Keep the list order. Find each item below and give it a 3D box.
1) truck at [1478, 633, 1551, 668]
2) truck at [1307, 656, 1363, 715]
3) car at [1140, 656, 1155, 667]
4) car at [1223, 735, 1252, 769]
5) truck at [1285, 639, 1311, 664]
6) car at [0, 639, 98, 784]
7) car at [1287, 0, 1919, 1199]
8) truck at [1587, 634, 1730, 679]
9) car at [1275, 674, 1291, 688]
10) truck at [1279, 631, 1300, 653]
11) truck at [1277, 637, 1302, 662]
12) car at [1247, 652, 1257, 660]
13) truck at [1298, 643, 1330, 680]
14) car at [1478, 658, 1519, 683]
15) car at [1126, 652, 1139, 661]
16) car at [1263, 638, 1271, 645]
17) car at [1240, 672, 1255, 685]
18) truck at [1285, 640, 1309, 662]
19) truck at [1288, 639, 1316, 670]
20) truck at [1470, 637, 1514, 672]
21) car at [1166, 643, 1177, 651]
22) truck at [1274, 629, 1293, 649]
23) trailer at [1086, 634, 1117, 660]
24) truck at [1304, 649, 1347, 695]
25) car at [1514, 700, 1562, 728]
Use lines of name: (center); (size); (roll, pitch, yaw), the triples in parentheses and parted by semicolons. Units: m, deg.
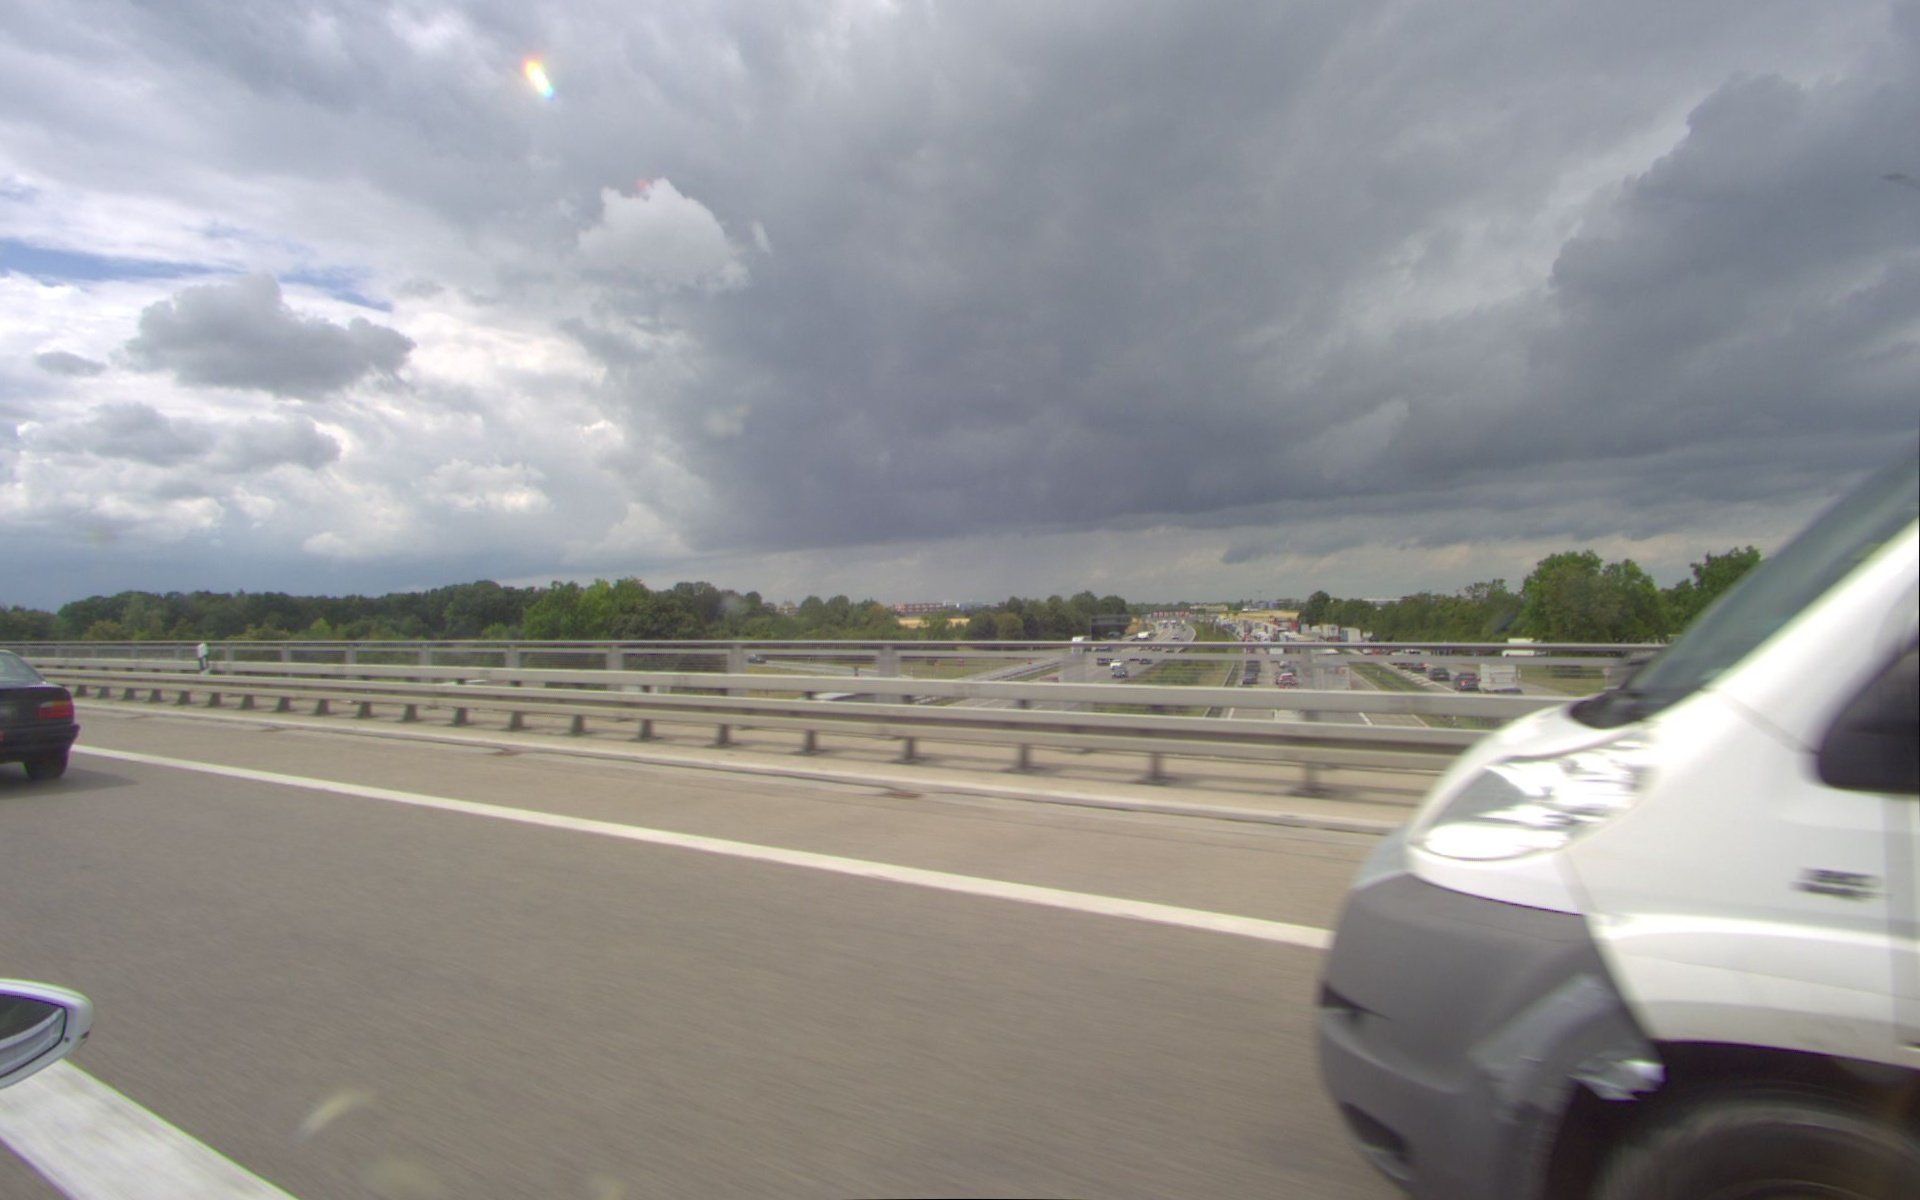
truck: (84.088, 7.587, 152.276); (3.875, 5.105, 13.006); (0, -2, 0)
truck: (34.060, 7.605, 91.519); (3.936, 4.612, 13.776); (0, -2, 17)
car: (32.660, 10.687, 174.074); (1.965, 1.638, 3.994); (-1, -1, 19)
car: (17.357, 9.444, 62.536); (1.643, 1.576, 3.994); (-1, -1, 17)
truck: (60.493, 9.164, 179.449); (4.069, 4.083, 14.877); (0, -2, 18)
car: (-10.703, 1.063, 10.306); (4.305, 1.297, 1.700); (-1, -2, 34)
car: (3.793, 0.233, 1.356); (6.064, 2.485, 2.110); (-1, -2, 32)
truck: (87.878, 6.972, 126.606); (3.803, 5.281, 14.796); (1, -2, -27)
car: (39.408, 9.870, 122.156); (1.707, 1.505, 3.994); (-1, -1, 19)
truck: (74.579, 9.449, 226.912); (4.012, 4.882, 15.340); (0, -2, 16)
truck: (65.690, 9.778, 199.686); (4.011, 4.882, 14.476); (0, -2, 16)
car: (55.940, 10.714, 191.993); (1.707, 1.505, 3.995); (-1, -1, 17)
truck: (48.437, 8.298, 137.398); (3.937, 4.612, 14.866); (0, -2, 18)
car: (48.857, 6.345, 90.916); (2.143, 2.039, 4.669); (0, -2, 14)
car: (32.661, 10.635, 189.470); (1.965, 1.638, 3.994); (-1, -1, 19)
car: (71.178, 9.654, 232.313); (1.707, 1.505, 3.995); (-1, -1, 17)
car: (36.025, 9.819, 125.372); (1.707, 1.505, 3.994); (-1, -1, 18)
truck: (62.617, 9.409, 186.139); (4.059, 4.062, 6.491); (0, -2, 18)
truck: (54.630, 8.559, 159.905); (3.938, 4.612, 15.283); (0, -2, 19)
truck: (84.035, 8.633, 158.308); (3.784, 5.380, 6.447); (0, -2, 3)
car: (46.661, 10.335, 221.285); (1.965, 1.638, 3.994); (-1, -1, 19)
truck: (80.562, 9.730, 249.331); (4.012, 4.882, 15.340); (0, -2, 16)
trailer: (25.474, 8.397, 179.798); (3.076, 4.341, 13.934); (0, -2, 18)
truck: (41.783, 8.099, 114.944); (3.936, 4.612, 16.347); (0, -2, 18)
car: (41.637, 8.212, 72.252); (1.963, 1.631, 4.462); (-1, -1, 16)
